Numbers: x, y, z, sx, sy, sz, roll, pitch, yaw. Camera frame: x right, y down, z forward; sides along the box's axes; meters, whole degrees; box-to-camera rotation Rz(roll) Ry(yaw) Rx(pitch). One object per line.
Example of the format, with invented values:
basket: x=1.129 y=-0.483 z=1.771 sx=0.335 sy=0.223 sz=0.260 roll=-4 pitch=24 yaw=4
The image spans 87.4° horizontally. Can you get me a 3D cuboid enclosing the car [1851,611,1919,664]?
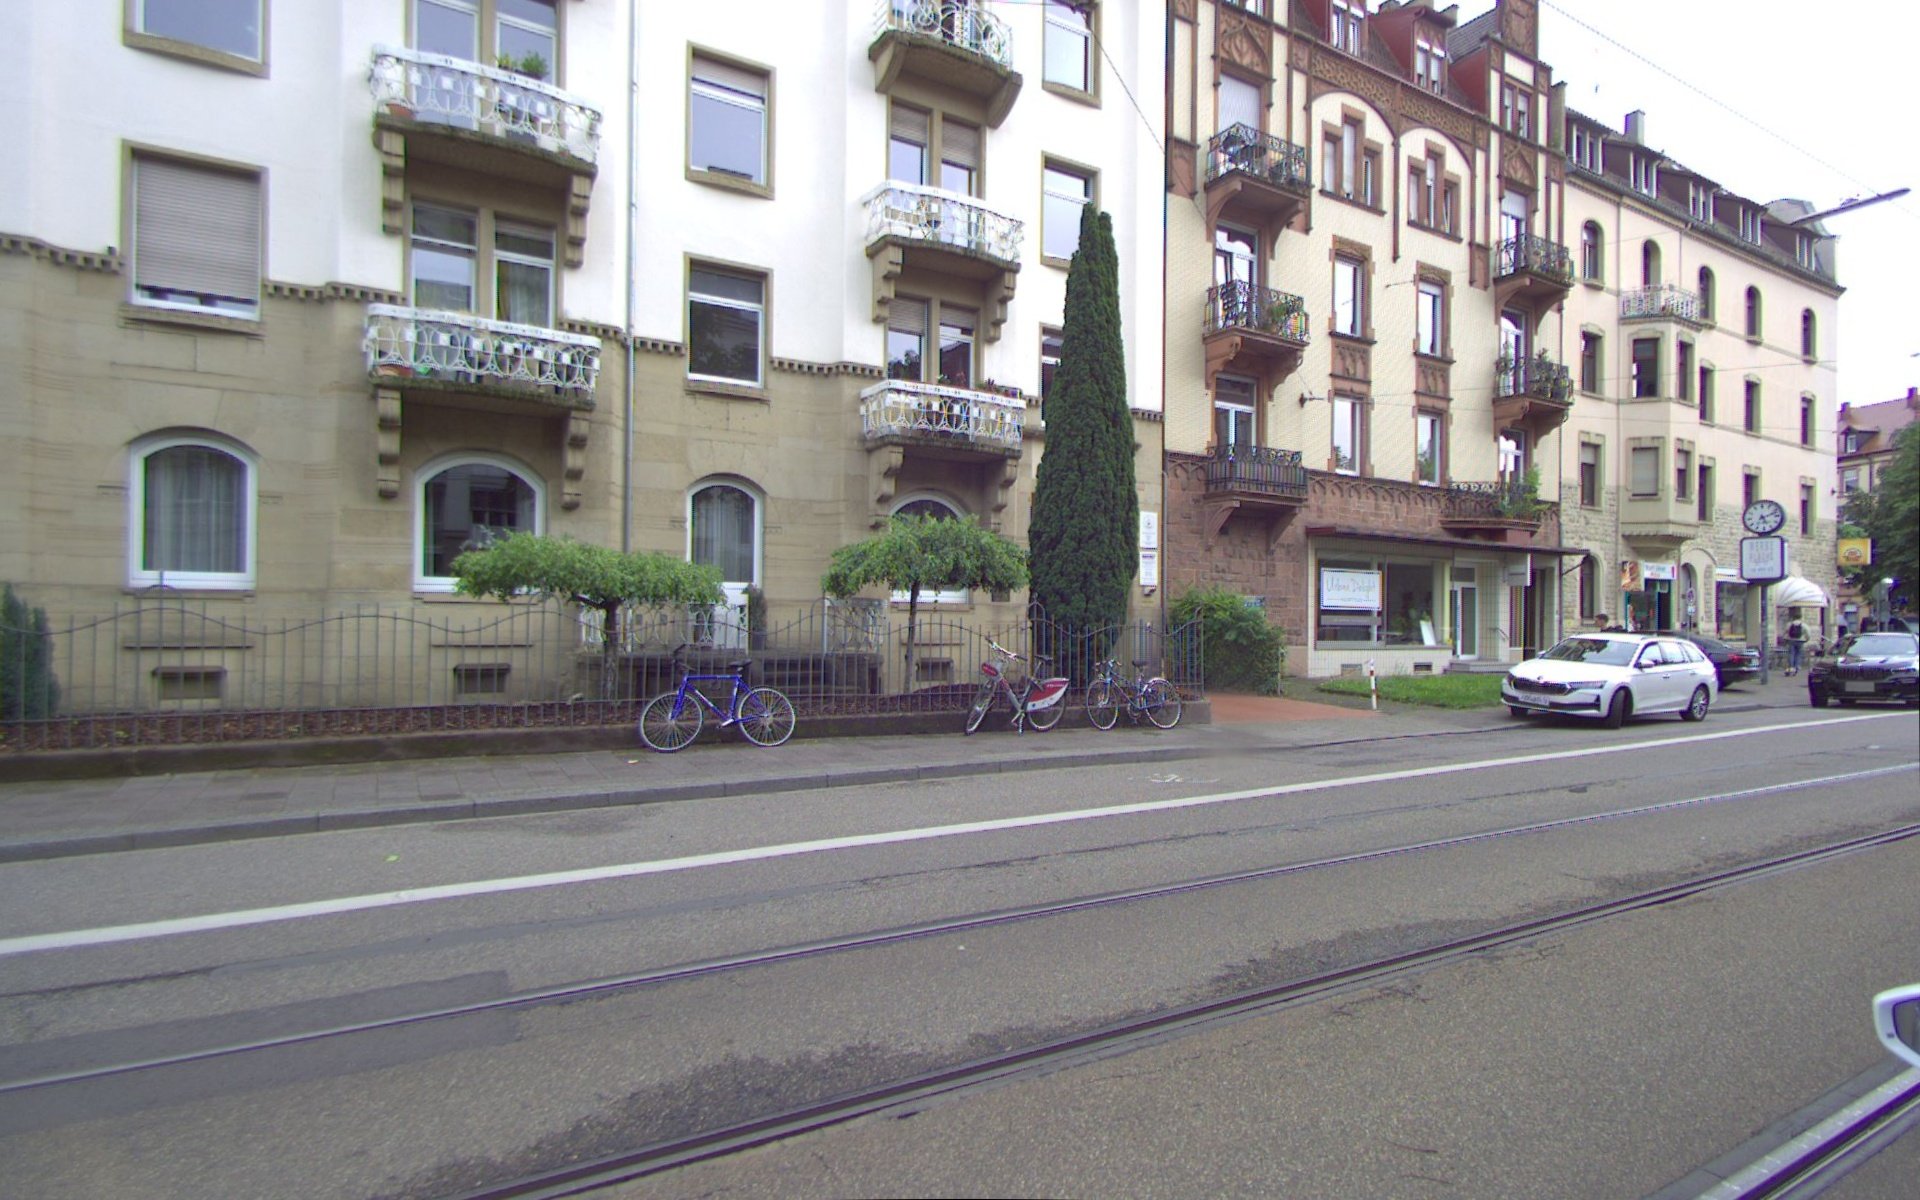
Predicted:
car: x=46.431 y=1.814 z=49.218 sx=2.142 sy=2.449 sz=5.382 roll=1 pitch=-1 yaw=17

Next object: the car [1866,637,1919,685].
car: x=30.575 y=1.919 z=31.906 sx=4.085 sy=1.380 sz=1.639 roll=2 pitch=1 yaw=-33

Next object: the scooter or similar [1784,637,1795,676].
scooter or similar: x=27.027 y=1.841 z=32.739 sx=0.229 sy=1.250 sz=0.948 roll=0 pitch=-1 yaw=43

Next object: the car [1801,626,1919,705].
car: x=21.243 y=1.479 z=23.211 sx=4.846 sy=1.632 sz=1.868 roll=2 pitch=-4 yaw=-39

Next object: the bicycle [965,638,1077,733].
bicycle: x=0.785 y=1.035 z=12.587 sx=1.613 sy=1.116 sz=0.381 roll=2 pitch=-1 yaw=-42

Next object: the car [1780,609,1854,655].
car: x=50.656 y=1.876 z=59.486 sx=2.146 sy=2.561 sz=5.373 roll=0 pitch=-1 yaw=28

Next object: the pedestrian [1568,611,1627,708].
pedestrian: x=12.567 y=1.156 z=19.794 sx=0.872 sy=1.868 sz=0.664 roll=1 pitch=-1 yaw=-32

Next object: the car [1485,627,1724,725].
car: x=11.284 y=1.244 z=17.508 sx=4.557 sy=1.504 sz=1.738 roll=1 pitch=-1 yaw=-32

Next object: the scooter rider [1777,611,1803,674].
scooter rider: x=27.076 y=1.382 z=32.762 sx=0.635 sy=2.040 sz=0.753 roll=0 pitch=-1 yaw=43

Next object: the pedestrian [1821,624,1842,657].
pedestrian: x=47.369 y=2.204 z=54.604 sx=0.686 sy=1.738 sz=0.552 roll=1 pitch=-1 yaw=20

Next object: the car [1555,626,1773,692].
car: x=18.830 y=1.520 z=27.064 sx=1.861 sy=1.389 sz=4.397 roll=1 pitch=1 yaw=-34

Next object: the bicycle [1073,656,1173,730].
bicycle: x=2.257 y=1.261 z=13.796 sx=1.498 sy=0.950 sz=0.330 roll=1 pitch=-1 yaw=-31

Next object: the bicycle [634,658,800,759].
bicycle: x=-2.598 y=1.144 z=10.773 sx=1.640 sy=0.938 sz=0.357 roll=1 pitch=-19 yaw=-29
